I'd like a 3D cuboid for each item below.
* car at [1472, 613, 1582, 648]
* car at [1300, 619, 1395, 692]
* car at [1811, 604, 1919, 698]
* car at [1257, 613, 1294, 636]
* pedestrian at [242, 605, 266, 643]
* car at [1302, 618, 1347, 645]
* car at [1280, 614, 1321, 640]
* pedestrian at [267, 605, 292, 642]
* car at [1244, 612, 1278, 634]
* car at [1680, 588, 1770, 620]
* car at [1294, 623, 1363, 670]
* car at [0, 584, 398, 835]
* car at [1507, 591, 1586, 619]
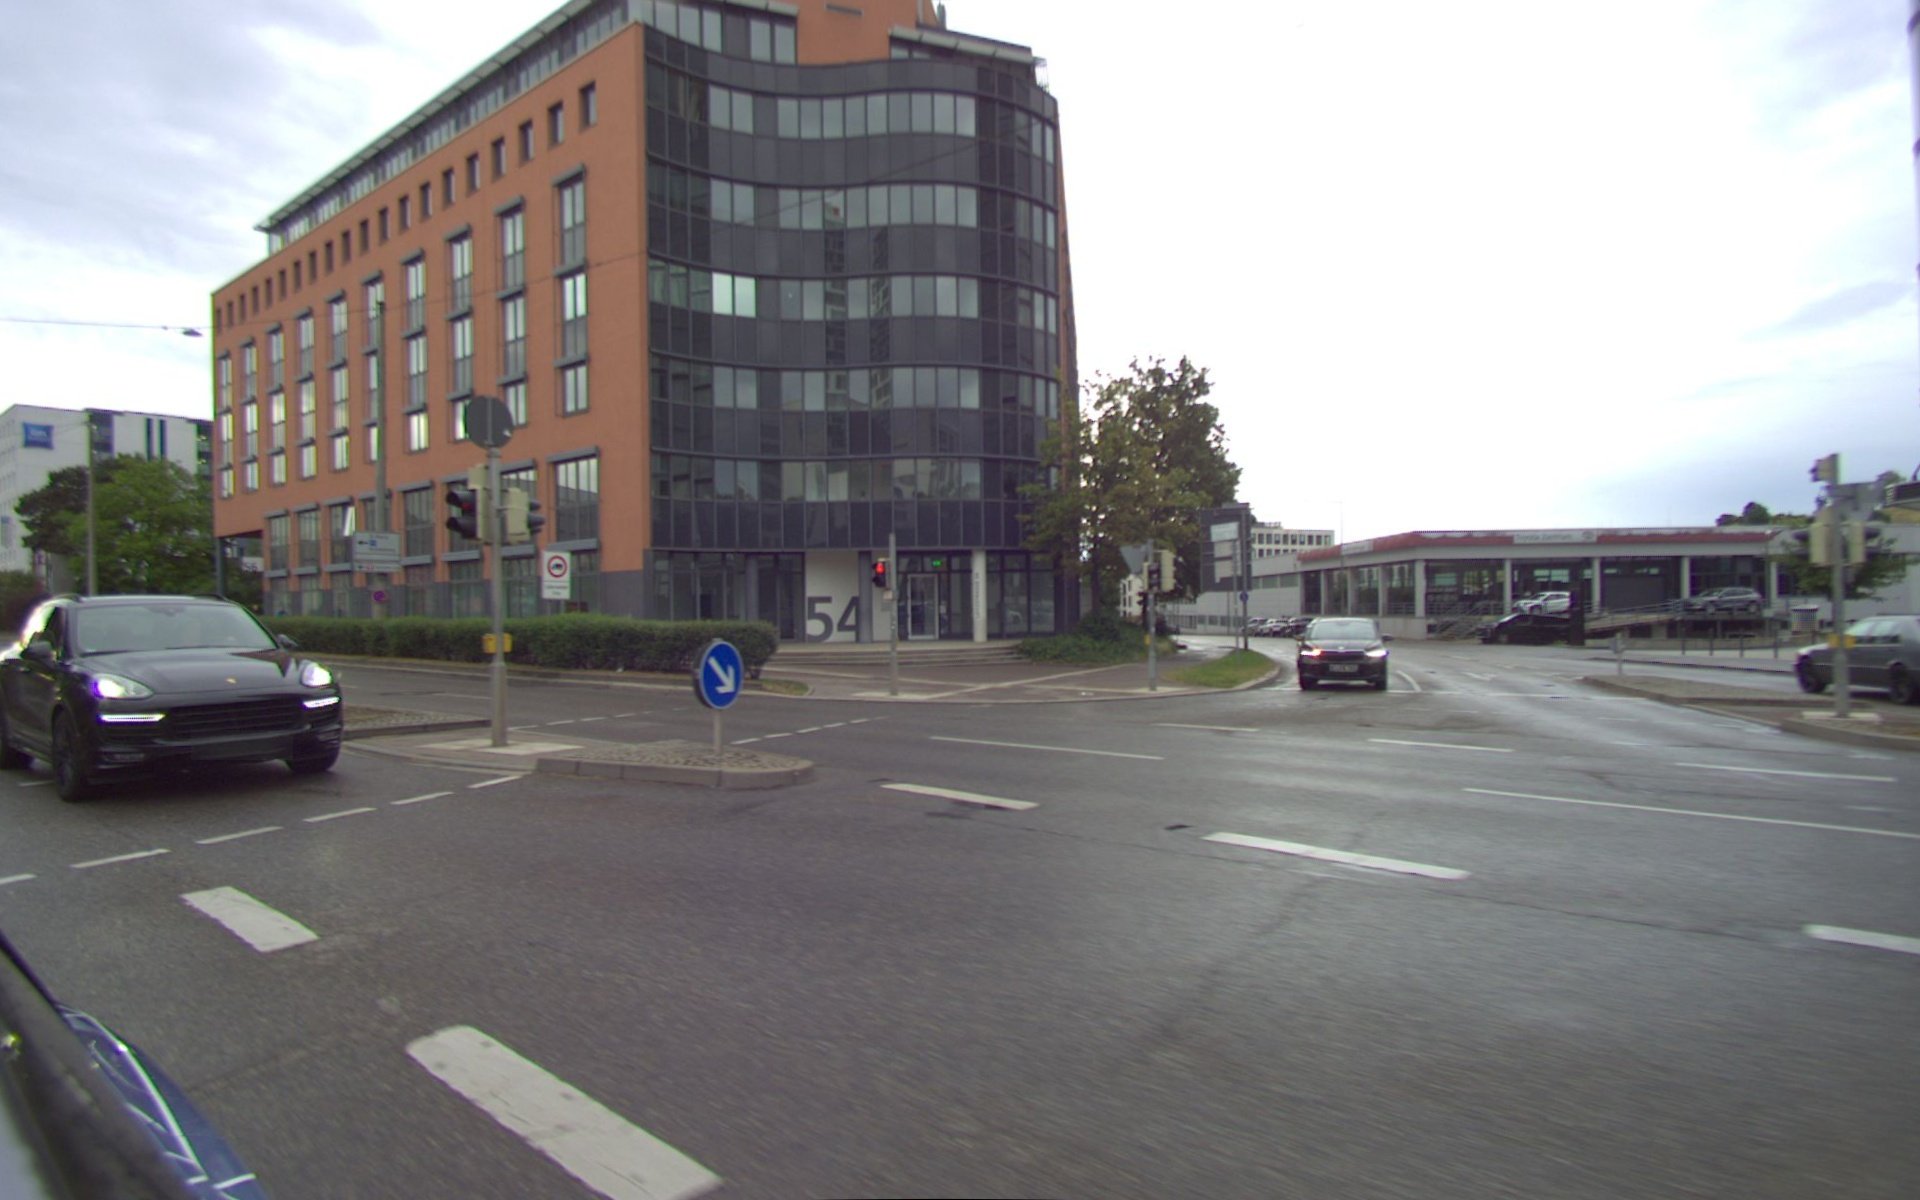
[{"bbox_3d":[31.221,1.677,55.847,4.942,1.829,1.794,0,-1,7],"label":"car"},{"bbox_3d":[8.972,1.246,23.502,1.843,1.522,4.342,-2,-2,21],"label":"car"},{"bbox_3d":[16.798,0.844,17.381,1.837,1.522,4.026,-1,-1,16],"label":"car"},{"bbox_3d":[26.699,2.053,85.748,1.973,1.918,3.997,-1,-1,2],"label":"car"},{"bbox_3d":[-35.647,1.219,51.102,0.884,1.855,0.739,-1,1,38],"label":"pedestrian"},{"bbox_3d":[26.690,2.282,74.226,1.973,1.918,3.997,-1,-1,2],"label":"car"},{"bbox_3d":[26.631,2.100,79.352,1.973,1.918,3.997,-1,-1,2],"label":"car"},{"bbox_3d":[-34.671,1.201,51.559,0.884,1.855,0.739,-1,1,38],"label":"pedestrian"},{"bbox_3d":[26.989,2.026,90.928,1.973,1.918,3.997,-1,-1,2],"label":"car"},{"bbox_3d":[46.138,0.265,61.134,3.947,1.863,1.798,0,-1,3],"label":"car"},{"bbox_3d":[11.478,1.425,31.743,1.838,1.373,3.976,-1,-2,18],"label":"car"},{"bbox_3d":[-7.330,0.784,9.296,5.420,1.679,1.973,-1,-1,40],"label":"car"},{"bbox_3d":[36.410,0.331,62.906,3.765,1.662,1.816,0,-1,3],"label":"car"}]
